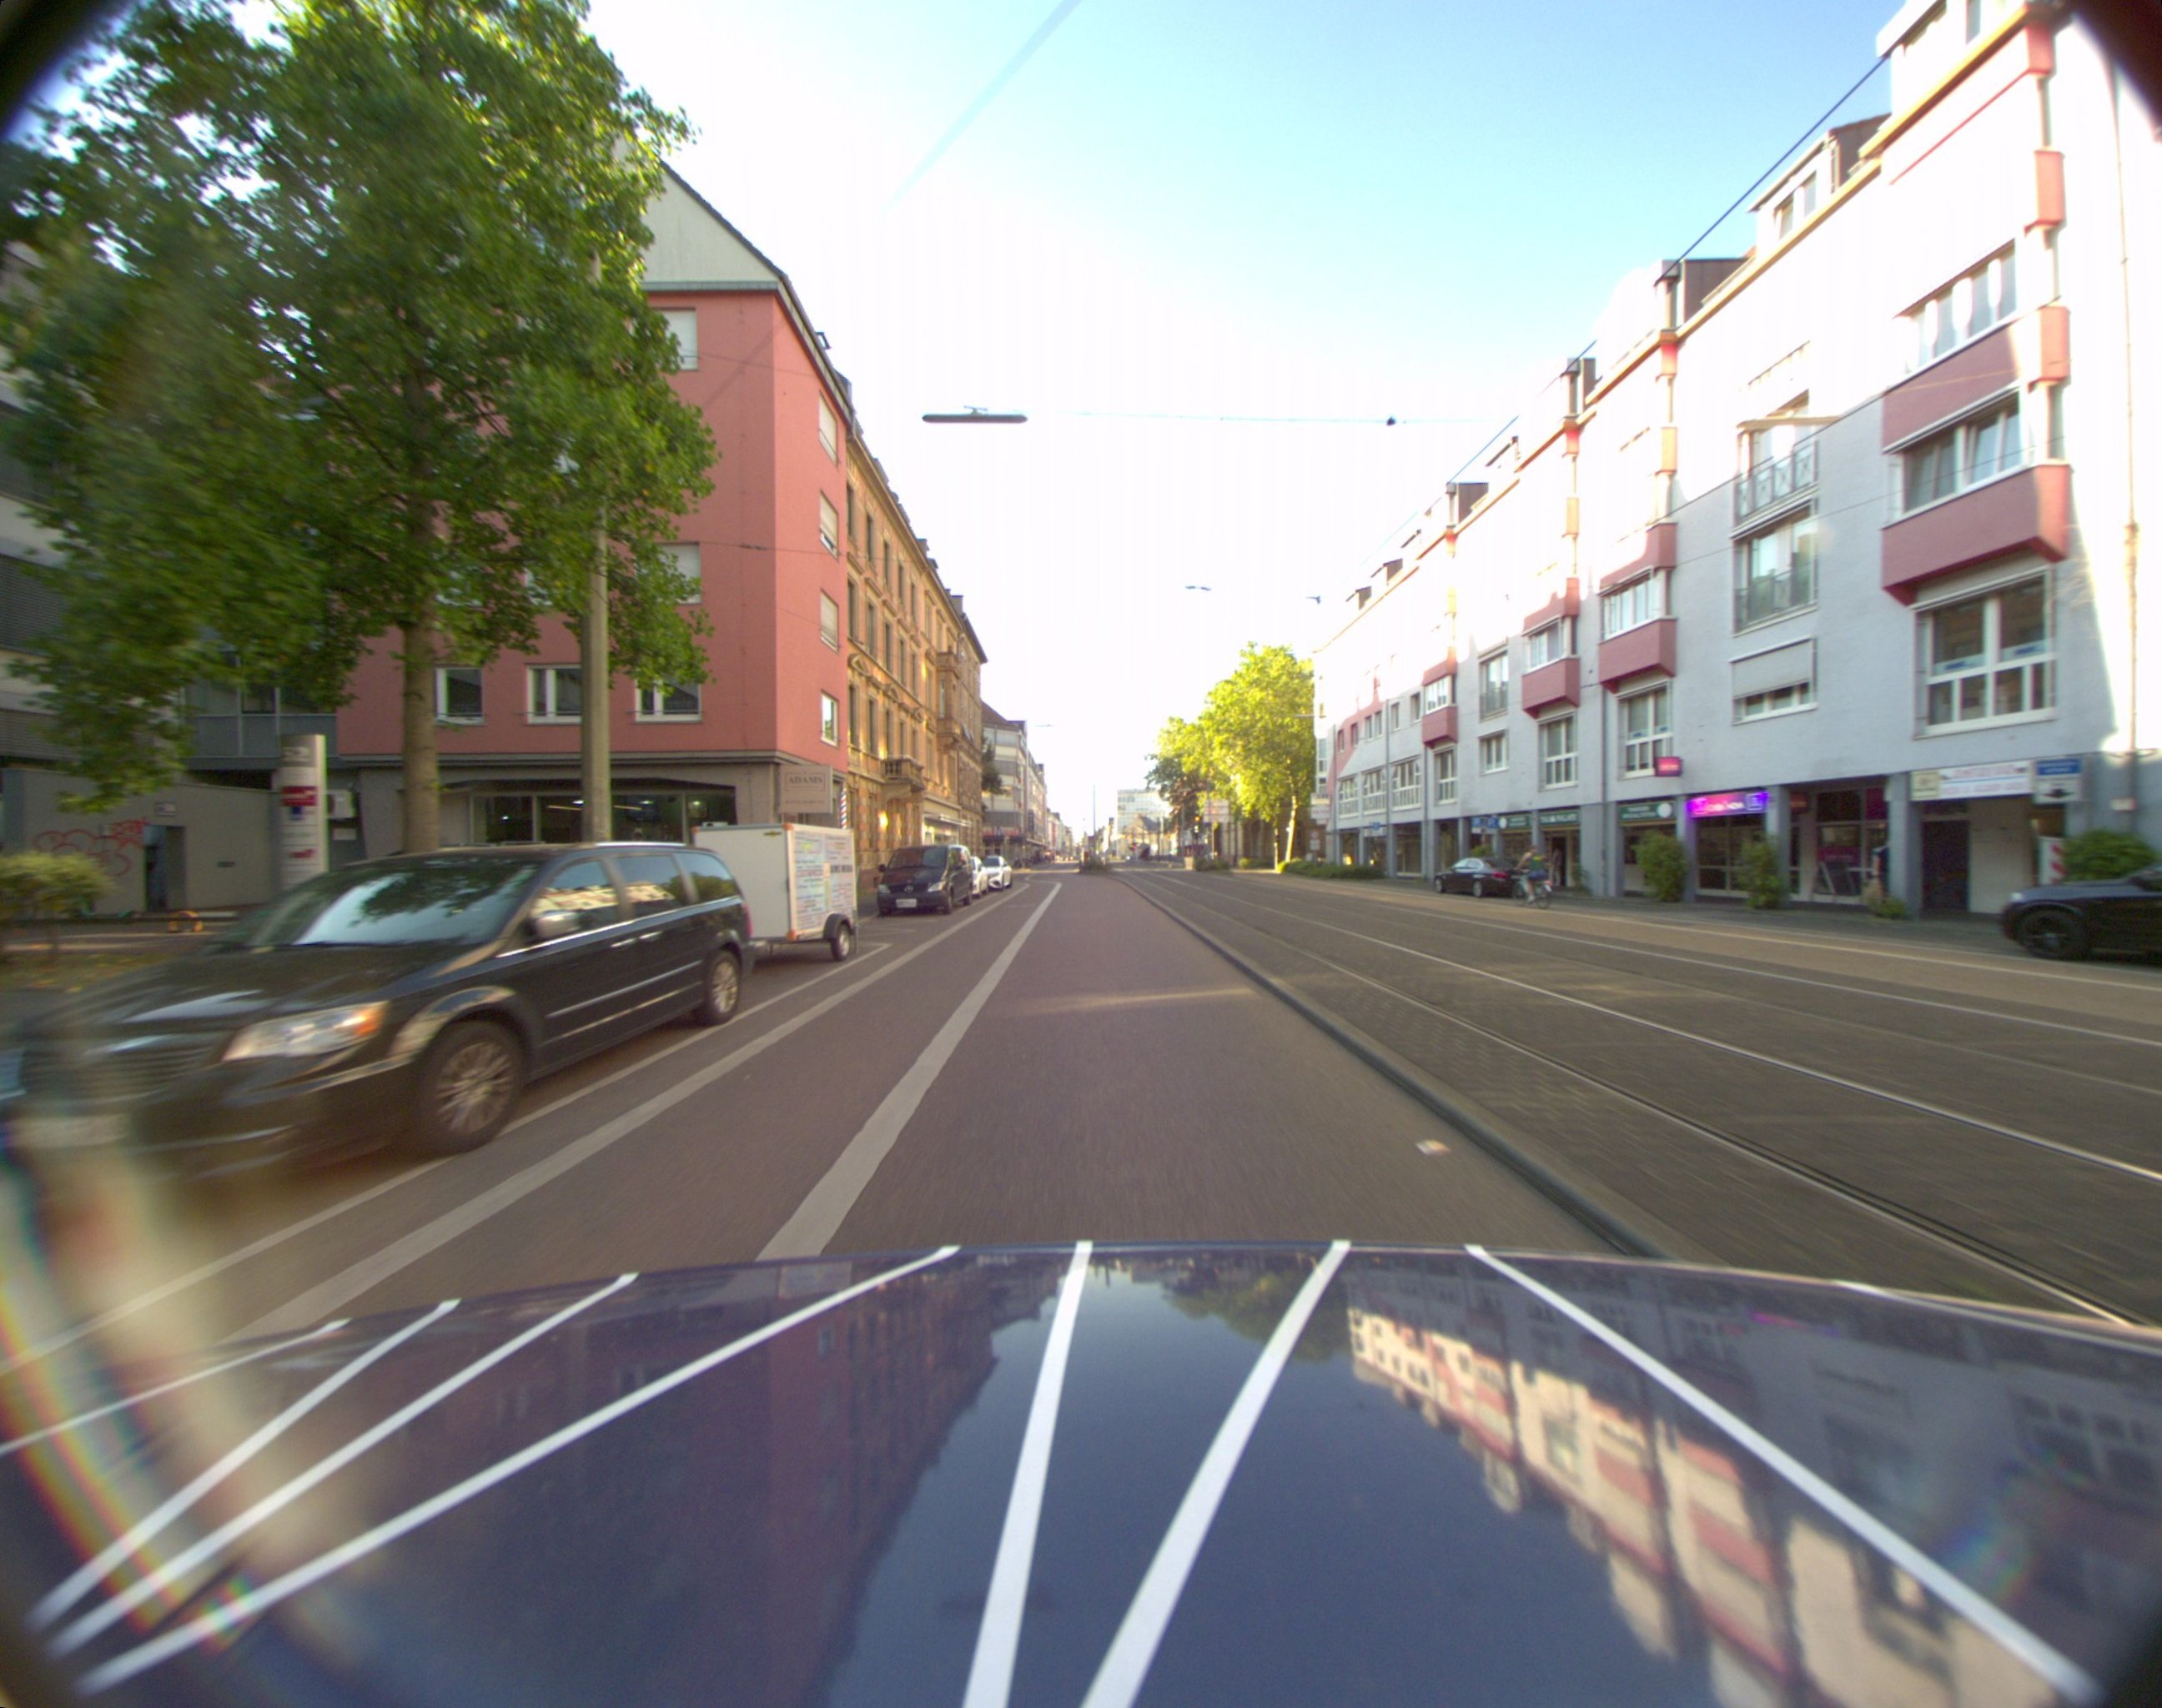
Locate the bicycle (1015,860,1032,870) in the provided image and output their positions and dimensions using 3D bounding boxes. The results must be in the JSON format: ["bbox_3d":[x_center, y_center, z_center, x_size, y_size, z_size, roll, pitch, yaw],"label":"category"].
[{"bbox_3d":[-6.147,1.213,81.116,1.839,1.048,0.710,-1,0,-3],"label":"bicycle"}]

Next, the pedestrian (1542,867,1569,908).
[{"bbox_3d":[19.670,1.381,31.503,0.745,1.702,0.616,-1,0,-3],"label":"pedestrian"}]

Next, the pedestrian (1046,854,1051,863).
[{"bbox_3d":[-5.837,0.787,137.861,0.800,1.712,1.061,3,1,1],"label":"pedestrian"}]

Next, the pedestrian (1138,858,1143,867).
[{"bbox_3d":[11.284,1.583,143.965,0.860,1.756,0.811,-3,0,6],"label":"pedestrian"}]

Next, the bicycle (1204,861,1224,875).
[{"bbox_3d":[11.106,1.167,63.292,1.903,1.071,0.582,-3,0,-43],"label":"bicycle"}]

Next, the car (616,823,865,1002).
[{"bbox_3d":[-4.607,0.690,10.949,1.709,2.107,3.707,-1,1,3],"label":"car"}]

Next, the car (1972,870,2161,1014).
[{"bbox_3d":[14.922,1.175,9.418,2.096,1.703,4.818,-2,1,-1],"label":"car"}]

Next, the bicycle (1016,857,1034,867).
[{"bbox_3d":[-6.162,0.867,83.520,1.975,1.098,0.614,0,0,-3],"label":"bicycle"}]

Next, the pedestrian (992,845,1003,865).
[{"bbox_3d":[-7.057,0.060,64.185,0.785,1.655,1.034,-1,-2,1],"label":"pedestrian"}]

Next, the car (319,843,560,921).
[{"bbox_3d":[-15.022,0.642,17.997,4.041,1.639,1.777,2,0,-5],"label":"car"}]

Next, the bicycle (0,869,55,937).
[{"bbox_3d":[-20.311,0.867,13.815,2.323,1.164,0.862,2,0,5],"label":"bicycle"}]

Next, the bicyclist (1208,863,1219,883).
[{"bbox_3d":[11.028,1.569,63.263,0.532,1.702,0.747,0,0,45],"label":"bicyclist"}]

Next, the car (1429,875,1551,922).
[{"bbox_3d":[15.044,1.599,28.288,1.874,1.431,4.706,-1,0,-2],"label":"car"}]

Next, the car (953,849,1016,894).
[{"bbox_3d":[-4.111,0.711,33.251,1.971,1.761,4.875,-2,0,1],"label":"car"}]

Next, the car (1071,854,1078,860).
[{"bbox_3d":[-1.961,0.945,219.688,1.971,1.664,4.875,-2,-1,0],"label":"car"}]

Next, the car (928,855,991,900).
[{"bbox_3d":[-4.387,0.812,27.928,1.735,1.487,3.961,-2,0,-2],"label":"car"}]

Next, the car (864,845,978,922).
[{"bbox_3d":[-4.306,0.739,21.361,1.960,1.858,4.989,-2,0,2],"label":"car"}]

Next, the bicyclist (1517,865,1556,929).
[{"bbox_3d":[12.471,1.170,20.834,0.573,1.702,0.745,1,1,0],"label":"bicyclist"}]

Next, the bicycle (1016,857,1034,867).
[{"bbox_3d":[-6.186,0.874,84.176,1.918,1.041,0.681,-1,0,-3],"label":"bicycle"}]

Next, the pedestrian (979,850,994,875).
[{"bbox_3d":[-6.085,0.562,48.988,0.777,1.558,0.914,3,0,3],"label":"pedestrian"}]

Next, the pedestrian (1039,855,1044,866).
[{"bbox_3d":[-6.906,1.180,132.496,0.917,1.856,0.779,1,1,-3],"label":"pedestrian"}]

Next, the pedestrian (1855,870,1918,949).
[{"bbox_3d":[17.786,1.205,16.790,0.615,1.702,0.745,-1,0,-2],"label":"pedestrian"}]

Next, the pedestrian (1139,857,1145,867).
[{"bbox_3d":[10.149,1.357,126.875,0.913,1.652,0.967,-1,0,-1],"label":"pedestrian"}]

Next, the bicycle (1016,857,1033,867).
[{"bbox_3d":[-6.164,0.893,82.789,1.839,1.048,0.718,-1,0,-3],"label":"bicycle"}]

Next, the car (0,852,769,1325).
[{"bbox_3d":[-4.302,0.912,5.482,1.954,1.777,5.180,-2,0,-1],"label":"car"}]

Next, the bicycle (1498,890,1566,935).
[{"bbox_3d":[12.460,1.596,21.064,0.584,1.071,2.185,1,0,1],"label":"bicycle"}]

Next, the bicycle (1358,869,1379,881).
[{"bbox_3d":[17.355,1.267,45.927,0.457,0.654,1.809,-3,0,-5],"label":"bicycle"}]
